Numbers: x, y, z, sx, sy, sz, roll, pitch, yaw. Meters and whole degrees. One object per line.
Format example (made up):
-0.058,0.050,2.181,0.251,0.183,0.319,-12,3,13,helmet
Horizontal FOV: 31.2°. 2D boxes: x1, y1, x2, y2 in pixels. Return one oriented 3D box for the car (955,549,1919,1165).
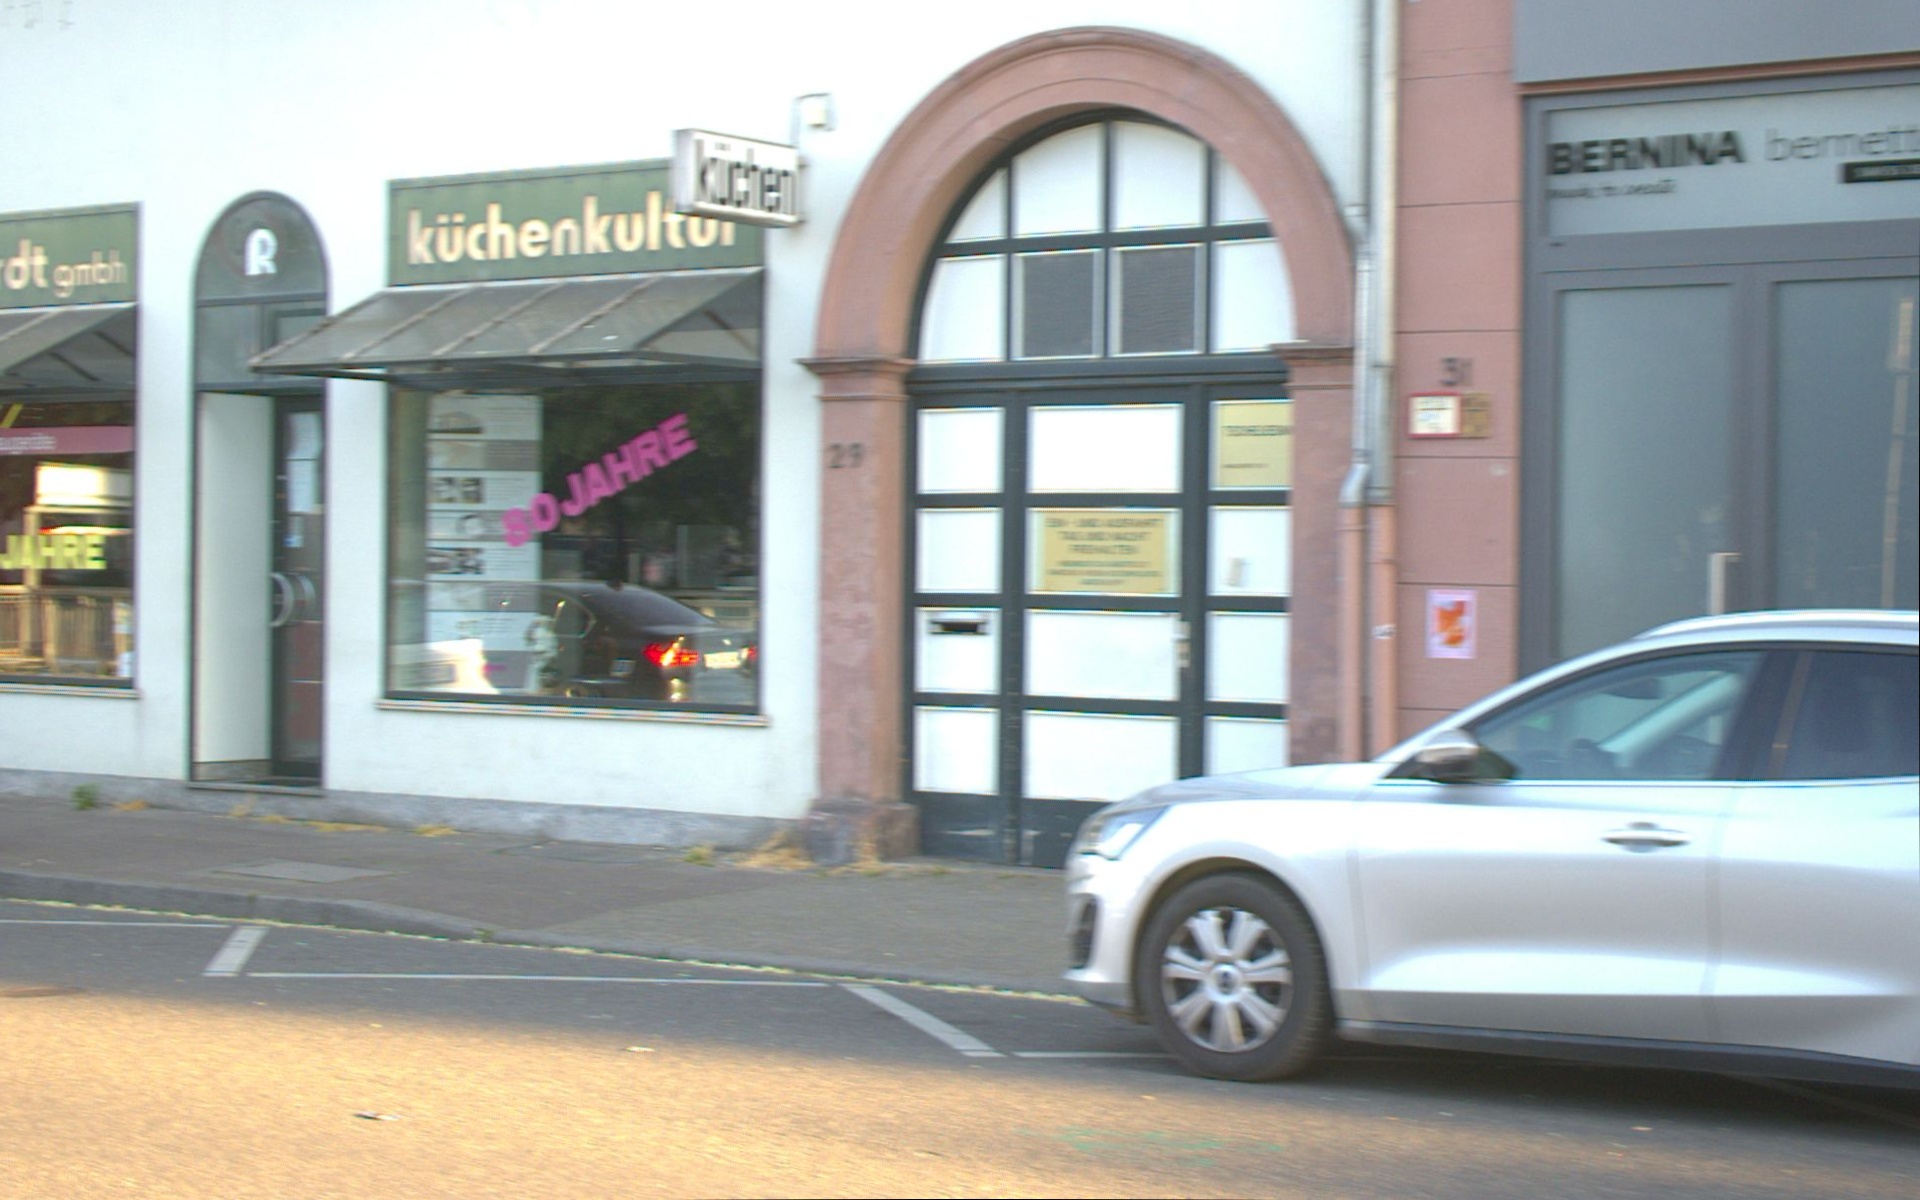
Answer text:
2.498,0.705,10.339,4.676,1.530,1.996,3,1,35,car
